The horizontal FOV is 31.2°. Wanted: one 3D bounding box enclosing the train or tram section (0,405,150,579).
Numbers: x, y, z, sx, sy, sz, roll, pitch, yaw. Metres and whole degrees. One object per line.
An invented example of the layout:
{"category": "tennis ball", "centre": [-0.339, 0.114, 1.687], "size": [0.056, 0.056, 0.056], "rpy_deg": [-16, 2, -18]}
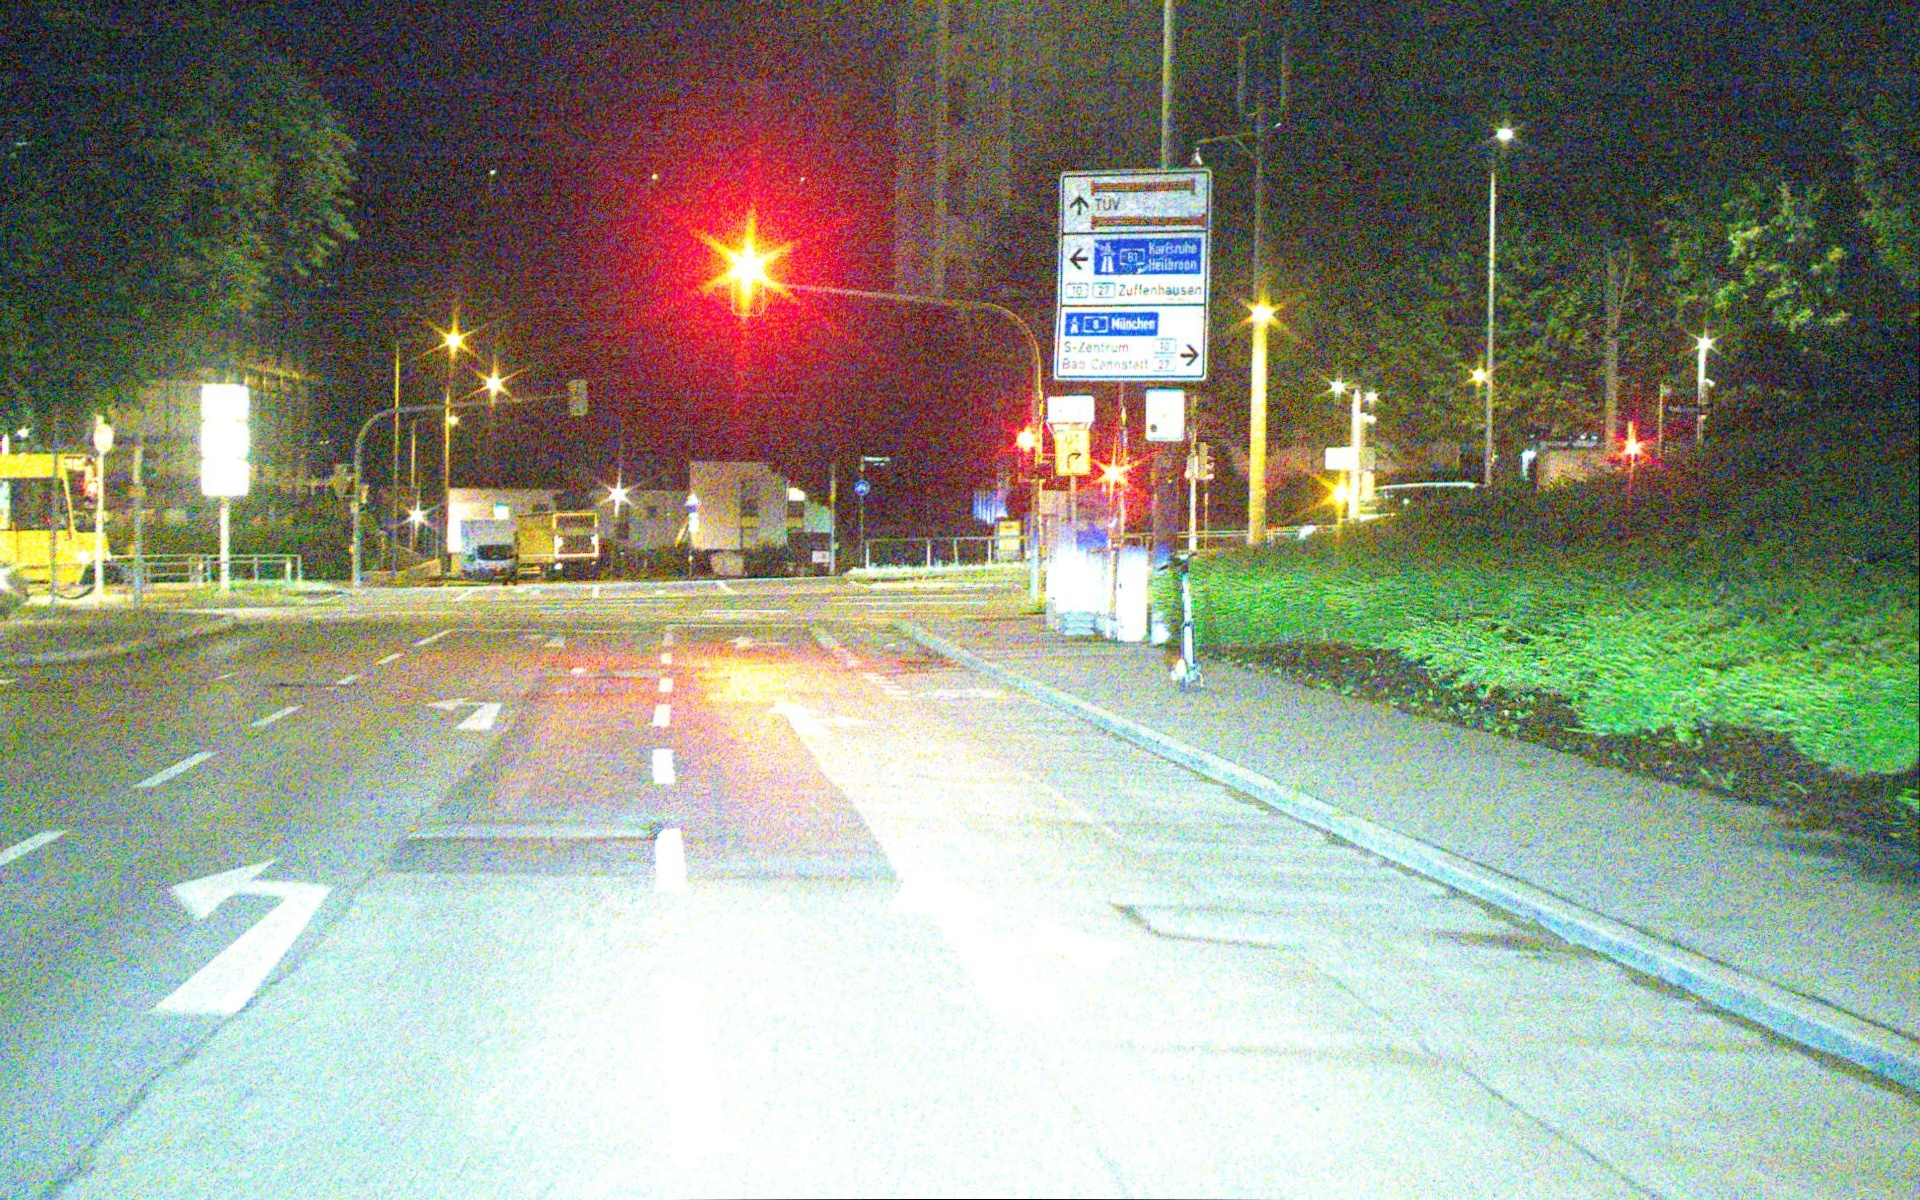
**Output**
{"category": "train or tram section", "centre": [-28.245, -2.327, 77.702], "size": [19.174, 3.810, 2.923], "rpy_deg": [-1, 1, 2]}

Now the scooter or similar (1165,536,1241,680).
{"category": "scooter or similar", "centre": [2.209, 0.059, 31.387], "size": [0.494, 1.257, 1.320], "rpy_deg": [-2, 2, -3]}

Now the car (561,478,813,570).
{"category": "car", "centre": [-14.305, -4.006, 180.142], "size": [12.380, 4.693, 4.811], "rpy_deg": [0, 1, -18]}

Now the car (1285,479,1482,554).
{"category": "car", "centre": [10.477, -2.073, 85.307], "size": [4.613, 1.634, 2.000], "rpy_deg": [-2, 2, 1]}

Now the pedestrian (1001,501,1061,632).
{"category": "pedestrian", "centre": [1.076, -0.514, 52.209], "size": [0.737, 1.975, 0.626], "rpy_deg": [0, 1, -21]}

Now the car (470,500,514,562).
{"category": "car", "centre": [-22.757, -3.376, 167.041], "size": [1.993, 2.963, 4.001], "rpy_deg": [0, 1, -10]}
